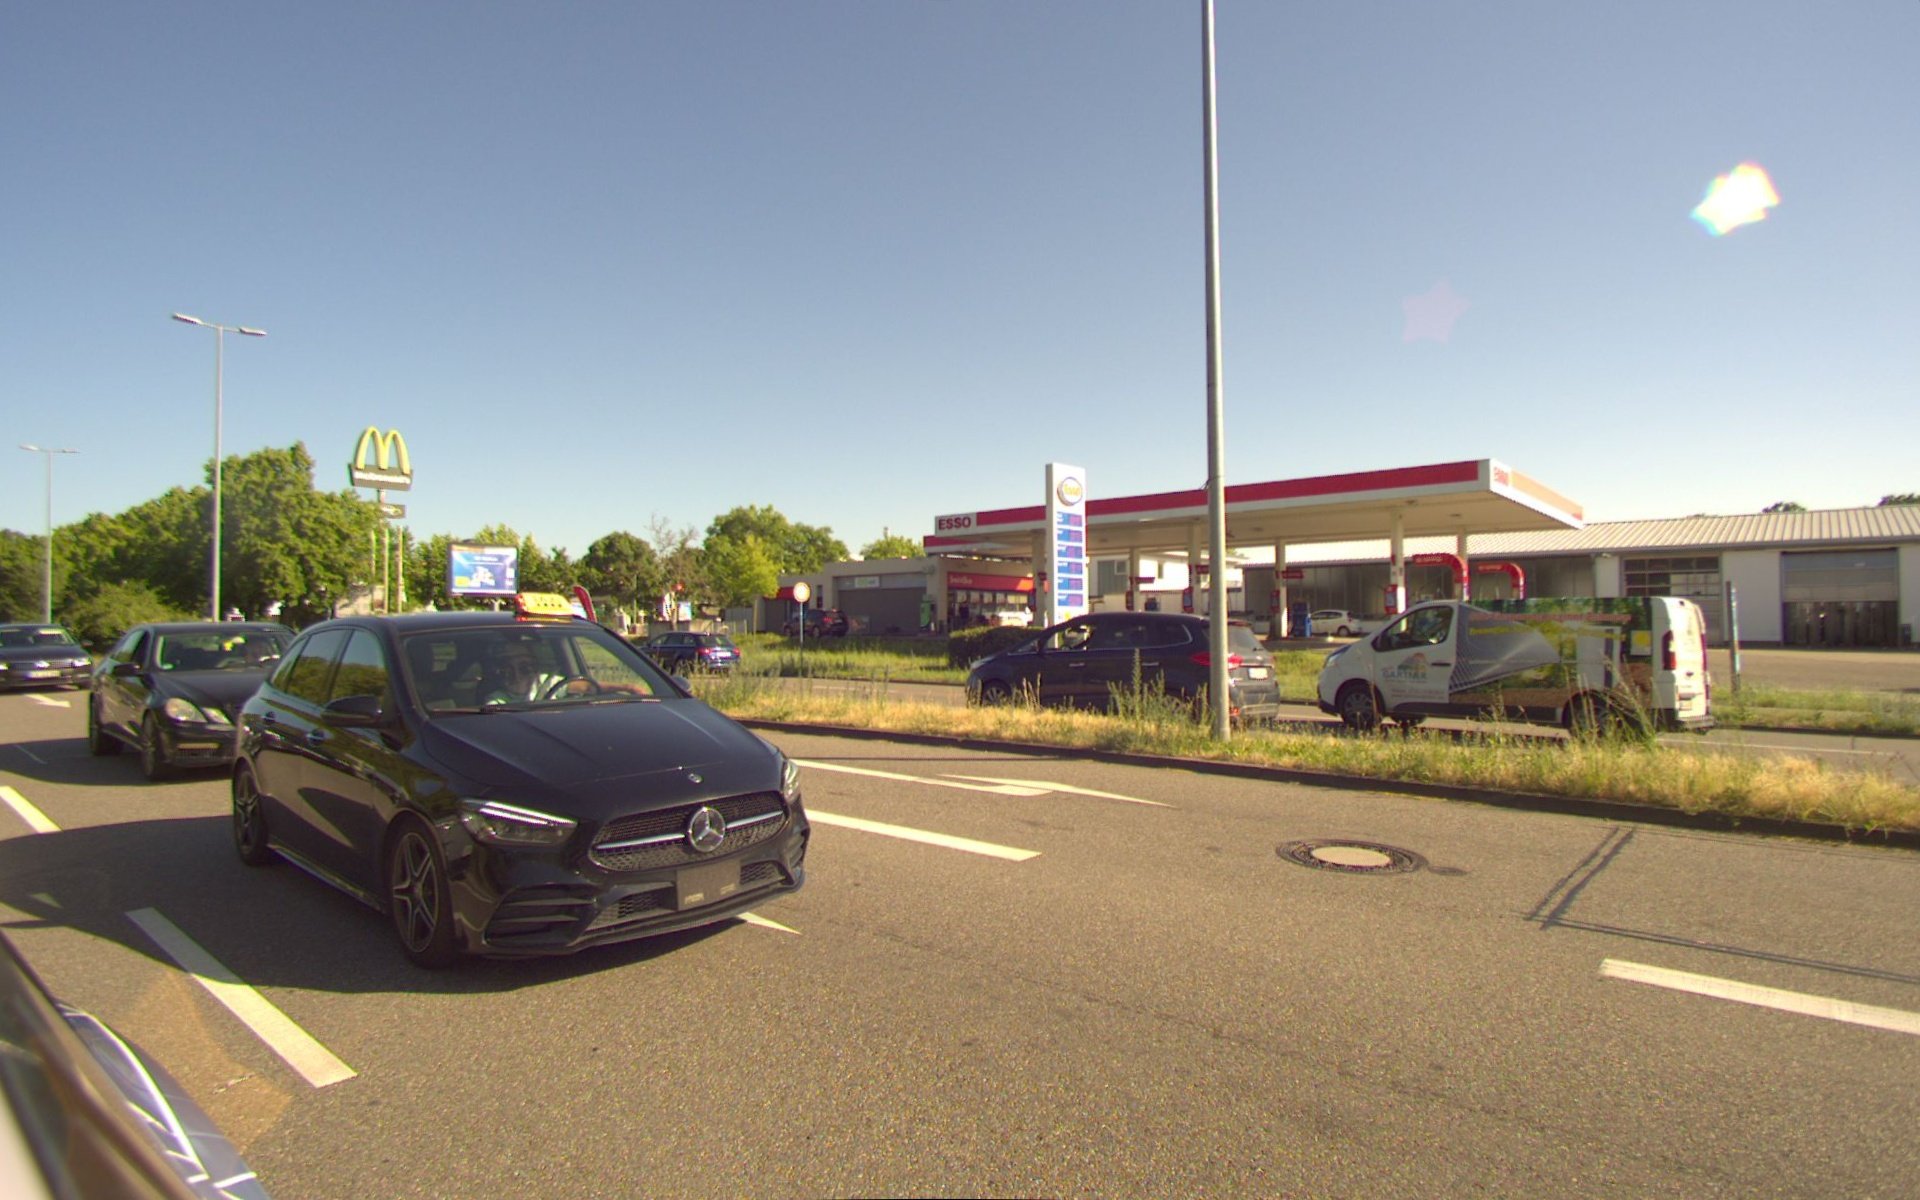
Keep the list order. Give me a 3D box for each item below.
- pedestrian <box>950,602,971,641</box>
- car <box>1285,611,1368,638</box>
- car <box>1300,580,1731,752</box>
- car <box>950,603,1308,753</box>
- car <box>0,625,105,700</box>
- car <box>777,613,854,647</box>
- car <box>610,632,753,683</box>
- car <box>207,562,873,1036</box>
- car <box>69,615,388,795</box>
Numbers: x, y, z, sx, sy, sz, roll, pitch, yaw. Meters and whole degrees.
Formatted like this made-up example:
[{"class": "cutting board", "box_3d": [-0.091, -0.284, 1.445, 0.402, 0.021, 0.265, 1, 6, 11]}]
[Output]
[{"class": "pedestrian", "box_3d": [0.037, 1.139, 53.352, 0.840, 2.029, 0.694, -2, -2, 41]}, {"class": "car", "box_3d": [19.850, 1.327, 54.864, 3.844, 1.450, 1.730, -2, -2, 39]}, {"class": "car", "box_3d": [7.669, 0.887, 14.456, 1.969, 2.029, 5.032, 4, -4, -42]}, {"class": "car", "box_3d": [2.143, 0.942, 13.643, 4.433, 1.703, 1.860, -2, -2, 41]}, {"class": "car", "box_3d": [-20.435, 1.305, 22.278, 4.401, 1.492, 1.838, -2, -2, 41]}, {"class": "car", "box_3d": [-7.900, 1.626, 55.076, 4.117, 1.783, 1.972, -2, -1, 43]}, {"class": "car", "box_3d": [-8.757, 1.763, 31.646, 4.600, 1.457, 1.885, -1, -4, 38]}, {"class": "car", "box_3d": [-2.563, 0.741, 5.588, 4.187, 1.638, 1.780, -2, -2, 42]}, {"class": "car", "box_3d": [-7.937, 0.955, 10.820, 4.401, 1.535, 1.838, -2, -2, 41]}]
